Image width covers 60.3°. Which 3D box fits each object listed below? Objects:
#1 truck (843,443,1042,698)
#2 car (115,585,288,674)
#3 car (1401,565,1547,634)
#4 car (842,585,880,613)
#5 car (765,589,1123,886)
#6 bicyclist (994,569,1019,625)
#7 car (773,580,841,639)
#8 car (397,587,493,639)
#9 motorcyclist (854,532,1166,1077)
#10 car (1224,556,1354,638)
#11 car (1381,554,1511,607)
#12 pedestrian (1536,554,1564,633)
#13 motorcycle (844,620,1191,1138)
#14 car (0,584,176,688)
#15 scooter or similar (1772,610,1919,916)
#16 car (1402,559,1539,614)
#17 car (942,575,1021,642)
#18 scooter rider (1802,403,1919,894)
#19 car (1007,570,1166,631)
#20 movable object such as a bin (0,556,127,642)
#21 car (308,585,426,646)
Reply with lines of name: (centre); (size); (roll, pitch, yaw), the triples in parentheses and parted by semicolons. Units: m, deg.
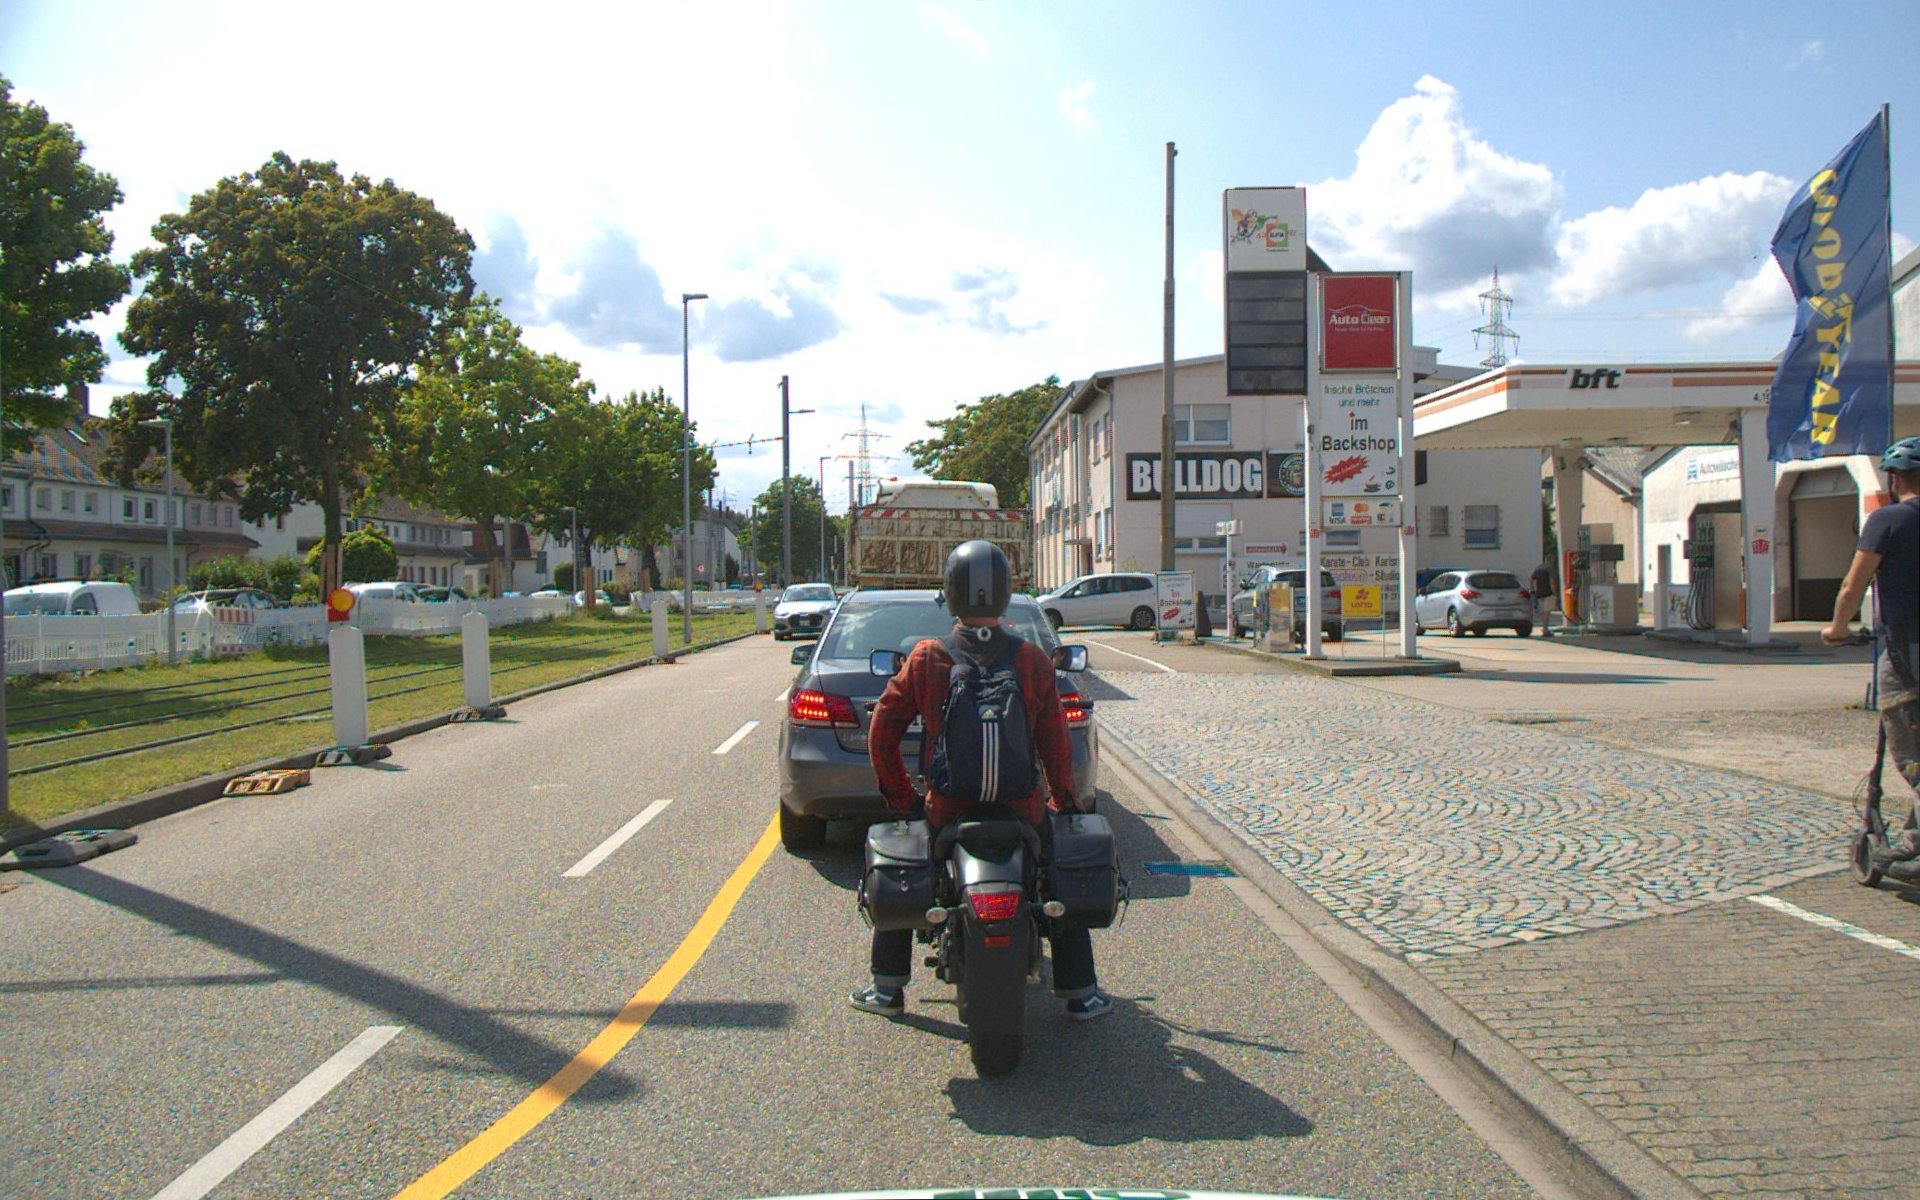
truck: (-0.257, -0.438, 26.612); (2.557, 3.312, 9.181); (-2, 0, 0)
car: (-16.576, 0.604, 36.382); (1.953, 1.780, 3.999); (-2, 0, -1)
car: (11.740, -0.008, 38.037); (1.920, 1.445, 3.998); (-2, 0, -3)
car: (-5.284, -0.055, 88.709); (1.809, 1.411, 4.343); (-2, 0, -1)
car: (-0.109, 0.675, 10.284); (1.784, 1.449, 3.999); (0, 1, -1)
bicyclist: (1.504, -0.105, 53.406); (0.657, 1.774, 0.814); (-1, 0, 9)
car: (-4.158, 0.230, 45.394); (1.622, 1.472, 4.301); (-2, 1, -3)
car: (-17.185, 0.417, 55.392); (1.953, 1.634, 3.999); (-2, 0, -1)
motorcyclist: (0.144, 0.621, 5.633); (0.920, 1.643, 1.204); (1, 0, -1)
car: (7.330, -0.063, 37.229); (1.920, 1.677, 3.998); (-2, 0, -3)
car: (16.953, -0.663, 57.792); (3.907, 1.677, 1.965); (-2, 0, -2)
pedestrian: (12.931, -0.146, 36.245); (0.388, 1.718, 0.485); (-2, 0, 0)
motorcycle: (0.135, 0.776, 5.814); (0.920, 1.343, 2.644); (1, 0, -1)
car: (-16.589, 0.633, 30.943); (1.953, 1.780, 3.999); (-2, 0, -1)
scooter or similar: (4.142, 0.667, 7.003); (0.529, 1.216, 1.610); (-3, 0, -1)
car: (17.007, -0.454, 55.247); (3.907, 1.677, 1.965); (-2, 0, -2)
car: (0.467, 0.166, 39.491); (1.784, 1.489, 4.000); (0, 1, -1)
scooter rider: (4.216, 0.181, 7.086); (0.703, 1.997, 0.785); (-3, 0, -1)
car: (3.630, 0.005, 47.825); (4.250, 1.579, 1.946); (-2, 0, -9)
movable object such as a bin: (-27.880, -0.031, 50.399); (4.277, 2.492, 1.776); (-2, 1, -23)
car: (-17.048, 0.422, 47.749); (1.953, 1.634, 3.999); (-2, 0, -1)
